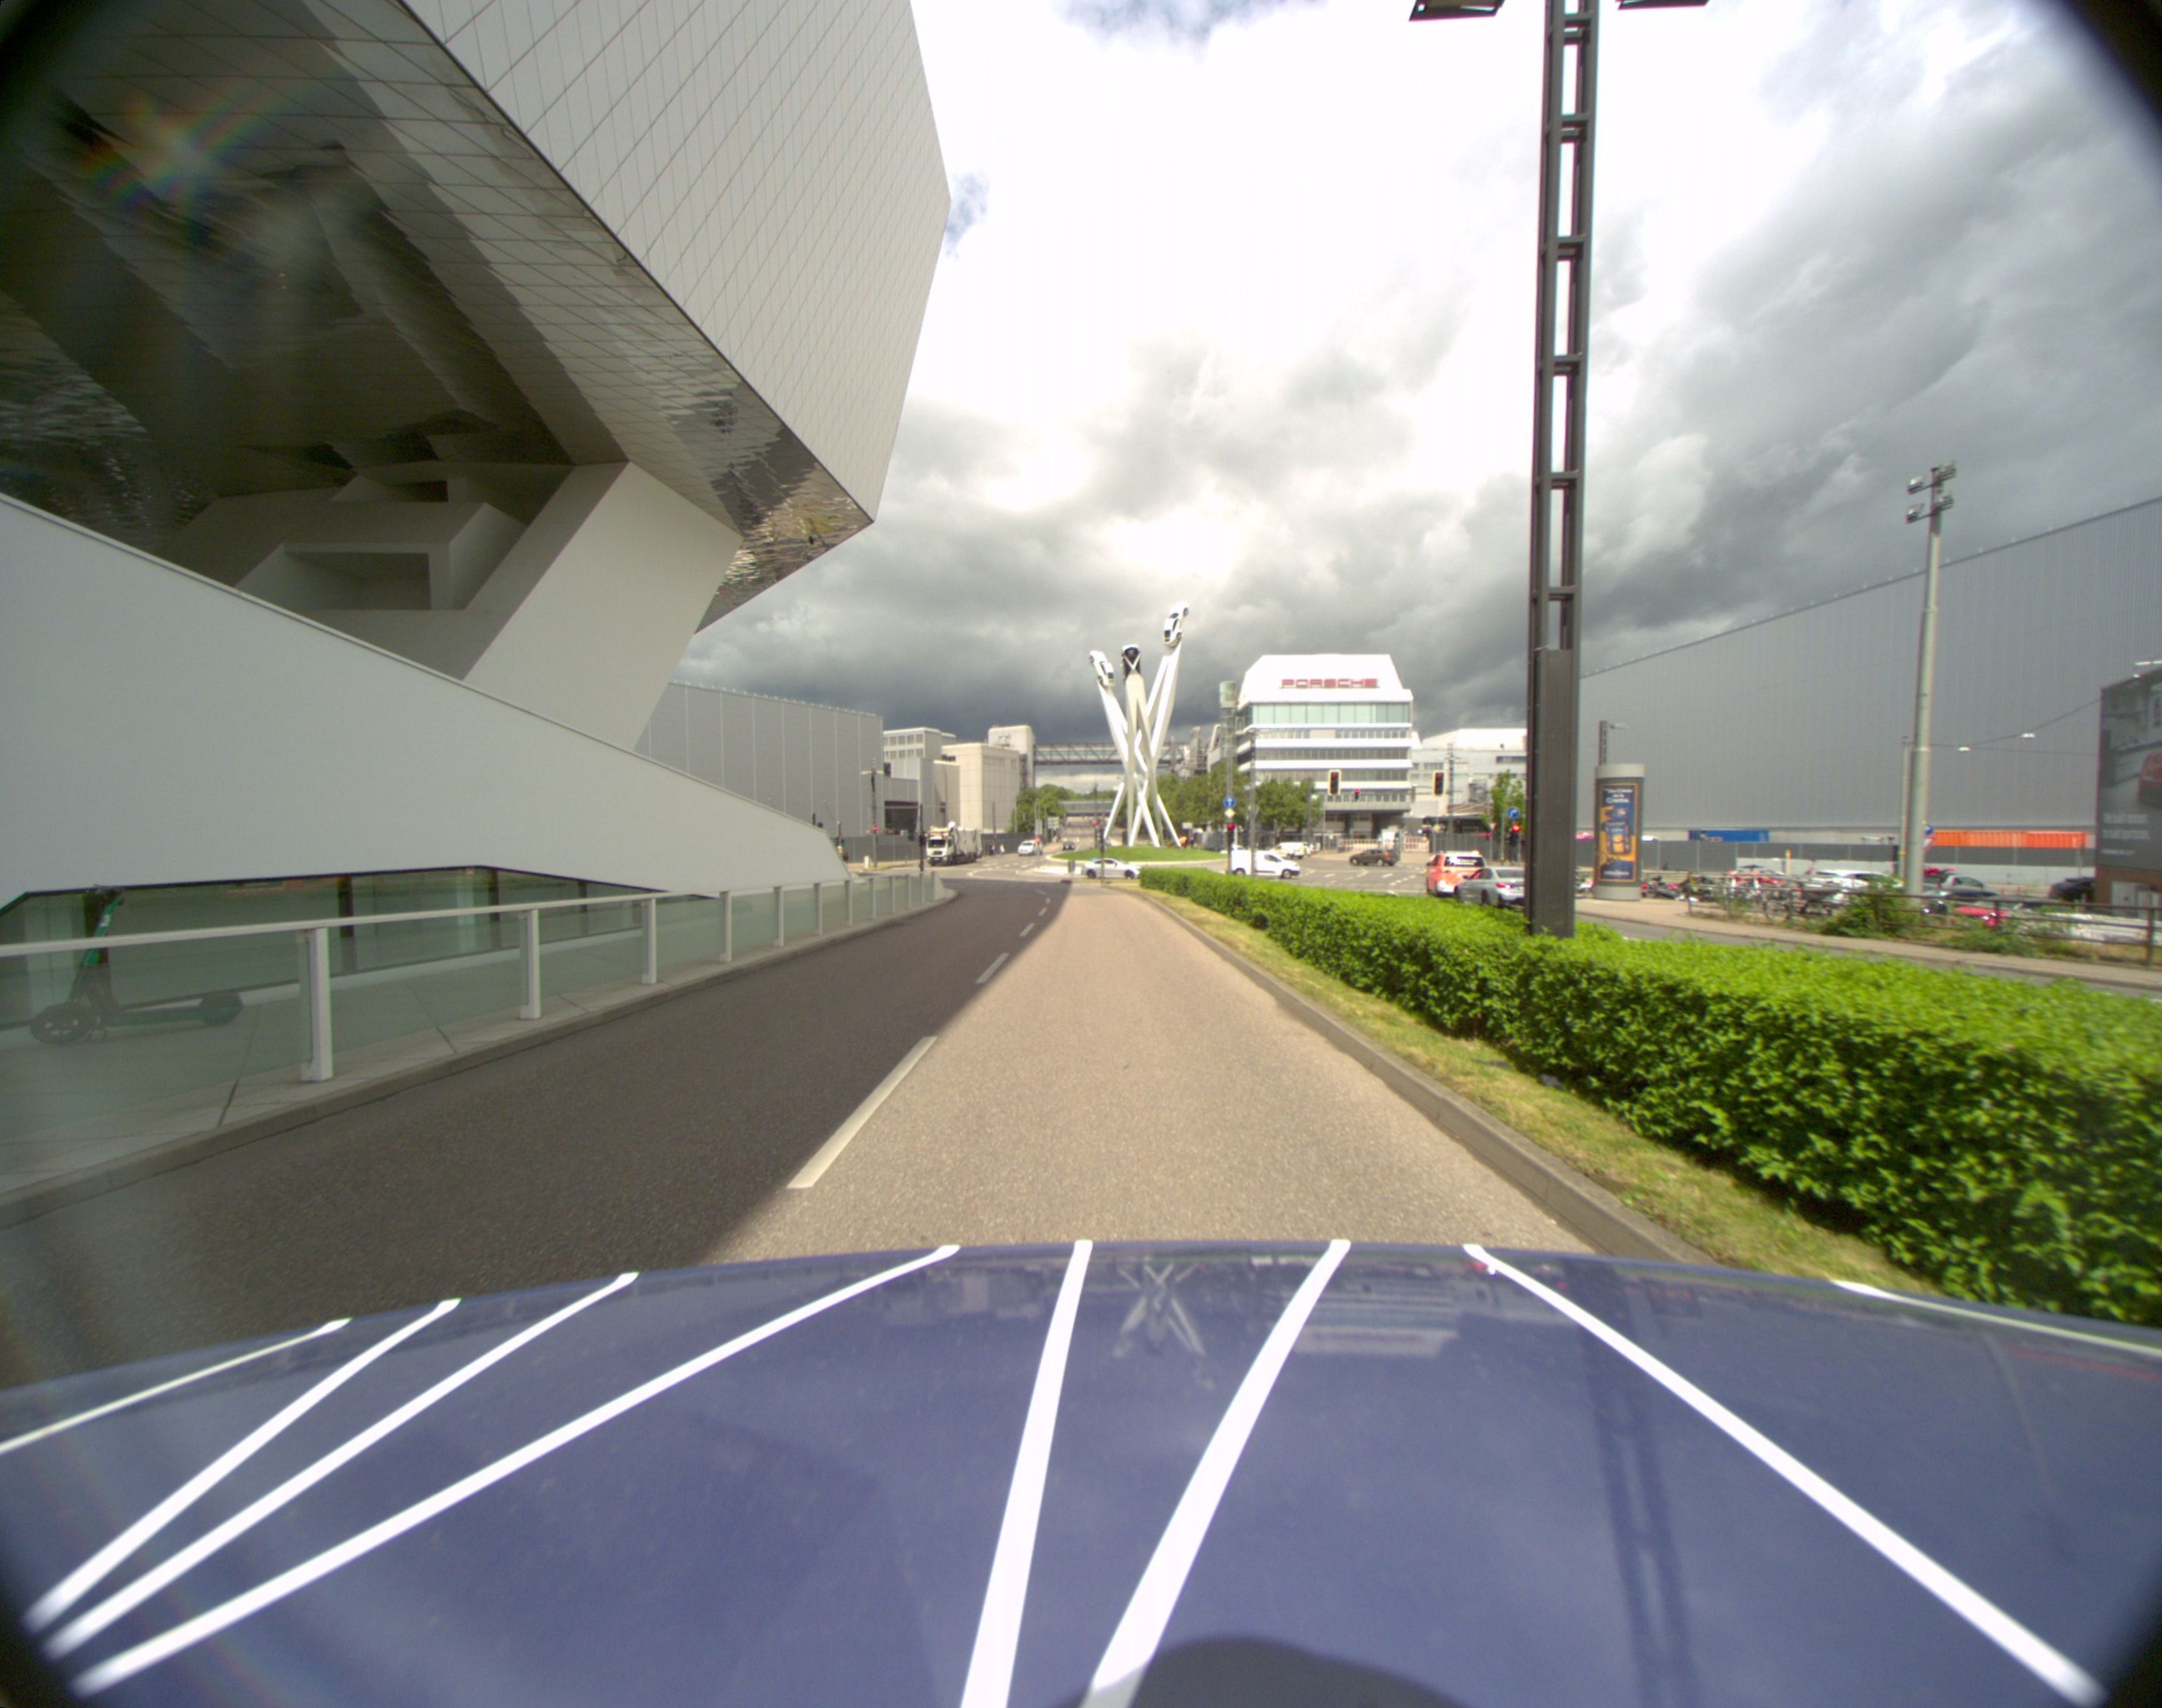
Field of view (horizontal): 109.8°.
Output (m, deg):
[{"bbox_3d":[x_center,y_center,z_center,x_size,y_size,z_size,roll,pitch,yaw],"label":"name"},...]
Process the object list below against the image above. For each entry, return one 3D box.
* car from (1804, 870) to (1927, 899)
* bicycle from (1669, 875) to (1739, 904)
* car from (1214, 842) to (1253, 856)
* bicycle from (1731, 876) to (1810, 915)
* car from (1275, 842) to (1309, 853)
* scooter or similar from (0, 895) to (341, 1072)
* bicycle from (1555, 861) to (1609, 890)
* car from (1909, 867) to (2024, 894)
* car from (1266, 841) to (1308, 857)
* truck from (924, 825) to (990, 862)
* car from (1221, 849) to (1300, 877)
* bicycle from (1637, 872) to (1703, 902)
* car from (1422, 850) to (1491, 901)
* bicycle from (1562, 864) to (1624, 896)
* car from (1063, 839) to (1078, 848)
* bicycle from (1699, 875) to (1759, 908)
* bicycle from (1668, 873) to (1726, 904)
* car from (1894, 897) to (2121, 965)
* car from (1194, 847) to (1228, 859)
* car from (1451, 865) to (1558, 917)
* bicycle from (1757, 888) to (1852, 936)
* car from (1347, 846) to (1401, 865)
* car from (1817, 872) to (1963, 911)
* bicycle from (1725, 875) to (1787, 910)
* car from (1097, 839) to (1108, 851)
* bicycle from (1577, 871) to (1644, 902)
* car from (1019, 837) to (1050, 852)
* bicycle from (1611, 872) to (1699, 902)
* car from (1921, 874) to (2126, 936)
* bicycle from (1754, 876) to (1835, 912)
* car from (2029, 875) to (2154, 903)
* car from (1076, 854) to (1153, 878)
[{"bbox_3d":[39.256,1.523,38.108,4.182,1.362,1.622,0,1,8],"label":"car"},{"bbox_3d":[24.841,1.401,30.334,2.054,1.106,0.673,0,1,15],"label":"bicycle"},{"bbox_3d":[17.511,-0.559,87.503,2.003,1.570,4.233,-1,1,-34],"label":"car"},{"bbox_3d":[24.254,1.454,26.759,1.954,1.337,0.712,0,1,12],"label":"bicycle"},{"bbox_3d":[27.339,-0.880,98.663,3.946,1.370,1.632,0,1,35],"label":"car"},{"bbox_3d":[-8.029,1.062,6.882,0.708,1.236,1.952,-1,1,0],"label":"scooter or similar"},{"bbox_3d":[22.098,0.948,33.570,1.888,1.261,0.668,0,1,8],"label":"bicycle"},{"bbox_3d":[43.737,1.309,37.590,3.614,1.235,1.469,0,1,8],"label":"car"},{"bbox_3d":[23.123,-0.568,85.616,2.003,1.819,4.390,-1,1,-32],"label":"car"},{"bbox_3d":[-12.872,-1.129,80.196,2.840,3.669,10.763,0,1,14],"label":"truck"},{"bbox_3d":[11.730,0.577,49.958,4.861,1.812,2.001,0,1,6],"label":"car"},{"bbox_3d":[25.339,1.412,32.719,2.109,1.248,0.741,0,1,19],"label":"bicycle"},{"bbox_3d":[15.936,0.834,32.500,1.996,1.947,4.634,0,1,18],"label":"car"},{"bbox_3d":[20.669,1.051,30.720,1.887,1.261,0.850,0,1,12],"label":"bicycle"},{"bbox_3d":[-1.695,-1.712,123.928,1.830,1.555,4.001,0,1,6],"label":"car"},{"bbox_3d":[20.174,1.155,23.663,1.952,0.983,0.620,0,0,-23],"label":"bicycle"},{"bbox_3d":[21.326,1.183,26.358,0.520,0.983,1.950,0,0,4],"label":"bicycle"},{"bbox_3d":[23.567,1.902,19.543,1.454,1.312,3.573,0,1,-1],"label":"car"},{"bbox_3d":[16.629,-0.189,97.308,1.941,1.503,4.233,-1,1,-35],"label":"car"},{"bbox_3d":[14.080,1.170,25.559,1.799,1.414,4.495,1,1,11],"label":"car"},{"bbox_3d":[16.693,1.311,17.598,0.520,0.983,1.951,0,0,6],"label":"bicycle"},{"bbox_3d":[26.773,0.087,69.536,4.184,1.686,1.958,0,1,44],"label":"car"},{"bbox_3d":[34.966,1.567,32.998,3.989,1.497,1.754,0,1,29],"label":"car"},{"bbox_3d":[20.279,1.148,22.815,1.952,0.983,0.620,0,0,-23],"label":"bicycle"},{"bbox_3d":[3.272,-1.339,114.885,1.586,1.630,3.803,0,0,1],"label":"car"},{"bbox_3d":[20.428,1.243,29.356,2.041,1.161,0.621,0,1,10],"label":"bicycle"},{"bbox_3d":[-6.244,-1.303,101.710,2.159,1.899,5.312,0,1,20],"label":"car"},{"bbox_3d":[26.470,1.514,35.124,3.074,1.259,1.165,0,1,26],"label":"bicycle"},{"bbox_3d":[31.909,1.667,25.912,3.989,1.850,1.754,0,1,29],"label":"car"},{"bbox_3d":[20.583,1.151,21.915,1.950,0.983,0.621,0,0,-8],"label":"bicycle"},{"bbox_3d":[48.466,1.668,36.505,3.614,1.235,1.469,0,1,8],"label":"car"},{"bbox_3d":[2.242,0.779,51.465,4.770,1.477,2.054,0,1,33],"label":"car"}]
